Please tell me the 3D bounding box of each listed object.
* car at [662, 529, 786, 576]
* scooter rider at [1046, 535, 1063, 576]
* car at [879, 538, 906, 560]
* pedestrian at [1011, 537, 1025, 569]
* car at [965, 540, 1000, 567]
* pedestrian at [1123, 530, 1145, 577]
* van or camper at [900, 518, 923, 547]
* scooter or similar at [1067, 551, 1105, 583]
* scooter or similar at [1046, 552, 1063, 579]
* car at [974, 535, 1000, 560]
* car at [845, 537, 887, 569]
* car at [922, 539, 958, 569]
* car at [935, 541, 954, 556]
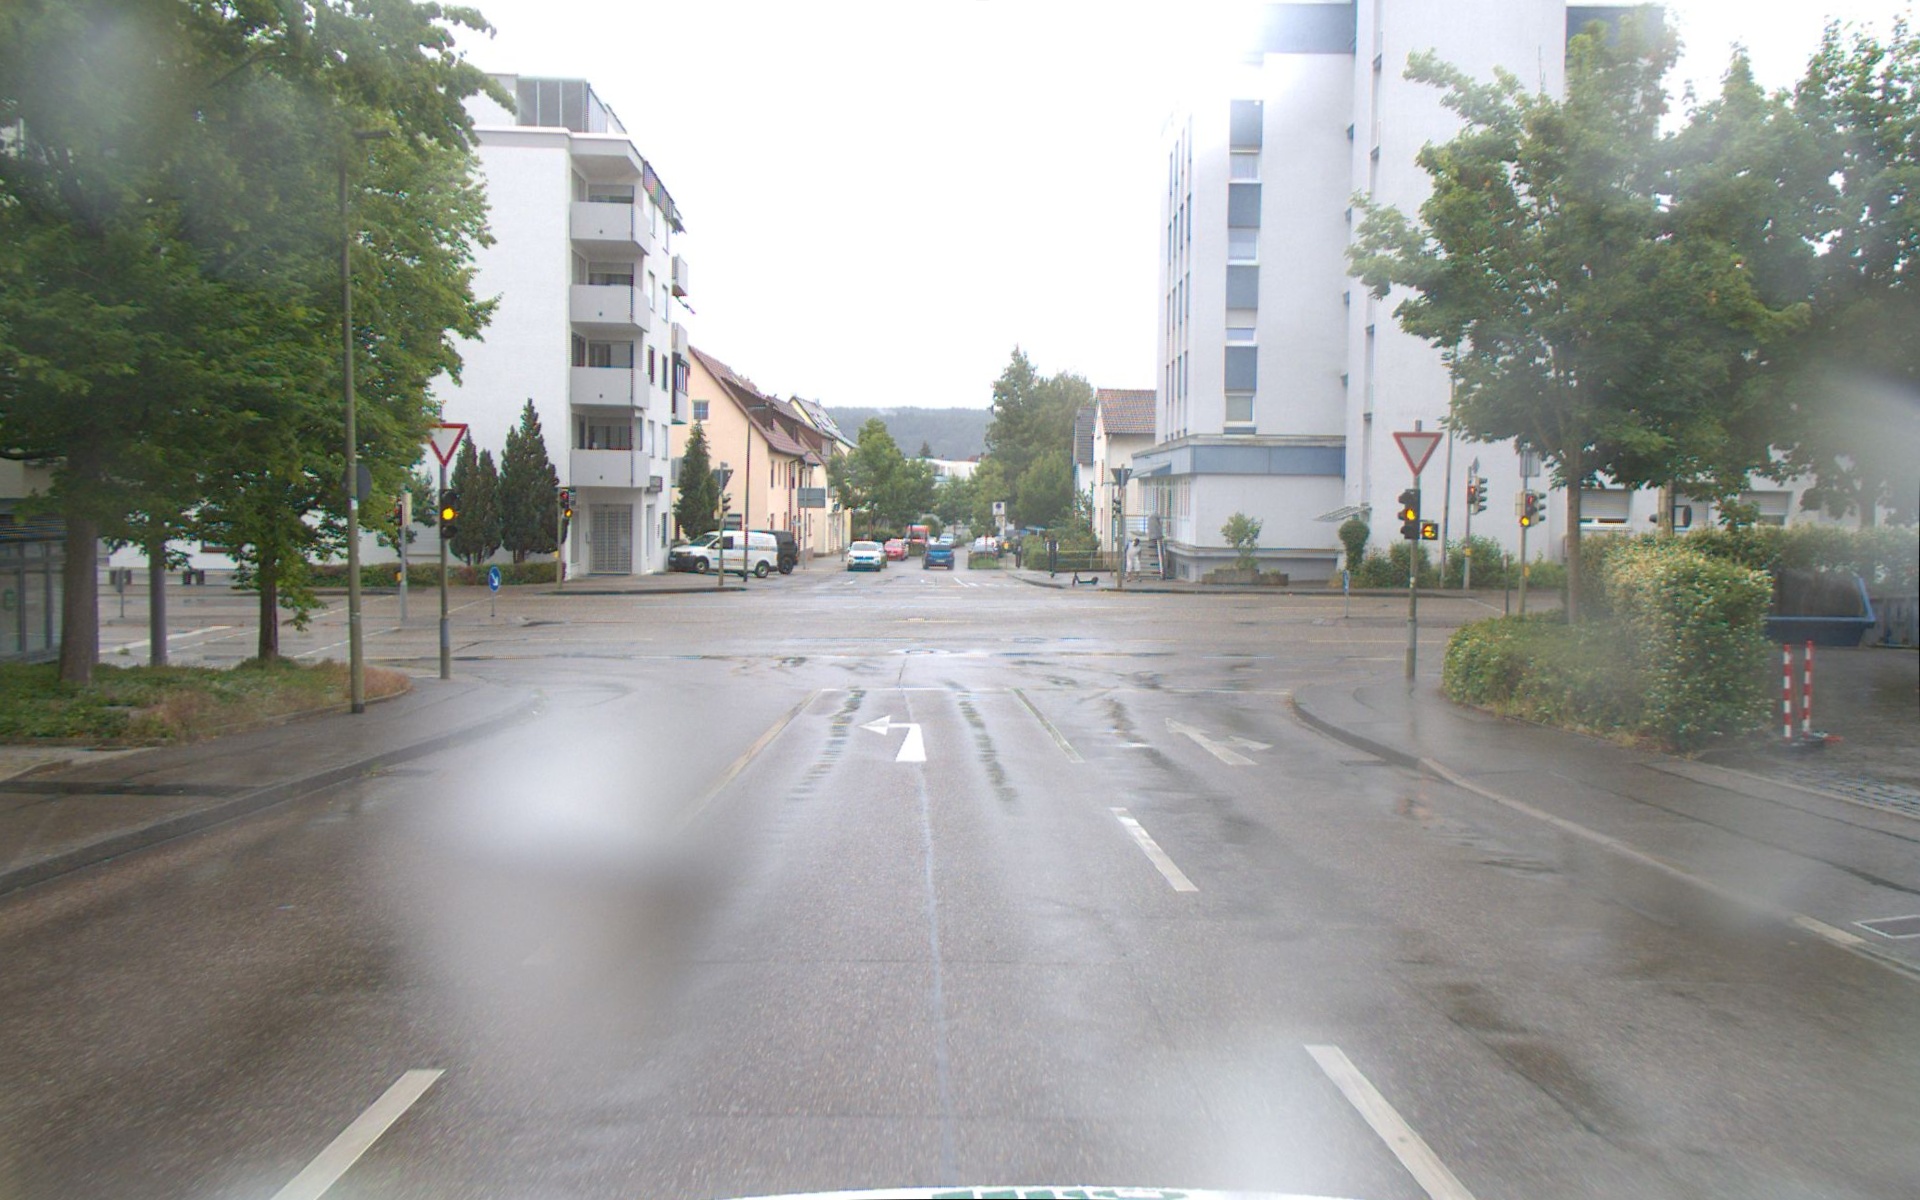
[{"bbox_3d":[-9.761,-1.984,68.655,4.797,1.867,1.972,-2,2,-39],"label":"car"},{"bbox_3d":[4.237,-1.998,74.378,0.736,1.827,0.673,-1,2,0],"label":"scooter rider"},{"bbox_3d":[-5.085,-3.866,125.426,1.862,1.586,4.192,-1,2,0],"label":"car"},{"bbox_3d":[3.571,-2.880,101.266,0.730,1.880,0.526,3,1,8],"label":"pedestrian"},{"bbox_3d":[1.375,-2.894,102.588,2.102,1.616,4.128,-1,2,0],"label":"car"},{"bbox_3d":[6.403,-1.719,60.932,0.635,1.676,0.525,3,1,-7],"label":"pedestrian"},{"bbox_3d":[-4.328,-6.033,148.001,1.862,2.557,4.239,-1,2,0],"label":"van or camper"},{"bbox_3d":[4.552,-1.197,59.789,1.243,1.100,0.876,-1,2,-5],"label":"scooter or similar"},{"bbox_3d":[4.251,-1.551,74.464,0.741,1.192,1.315,-1,2,1],"label":"scooter or similar"},{"bbox_3d":[2.001,-3.960,124.844,1.862,1.775,4.192,-1,2,0],"label":"car"},{"bbox_3d":[-5.035,-2.517,88.978,1.953,1.654,4.192,-1,2,0],"label":"car"},{"bbox_3d":[-1.202,-2.741,97.272,1.953,1.713,3.999,-1,2,-2],"label":"car"},{"bbox_3d":[-1.635,-5.487,175.711,1.862,1.586,4.192,-1,2,0],"label":"car"}]
